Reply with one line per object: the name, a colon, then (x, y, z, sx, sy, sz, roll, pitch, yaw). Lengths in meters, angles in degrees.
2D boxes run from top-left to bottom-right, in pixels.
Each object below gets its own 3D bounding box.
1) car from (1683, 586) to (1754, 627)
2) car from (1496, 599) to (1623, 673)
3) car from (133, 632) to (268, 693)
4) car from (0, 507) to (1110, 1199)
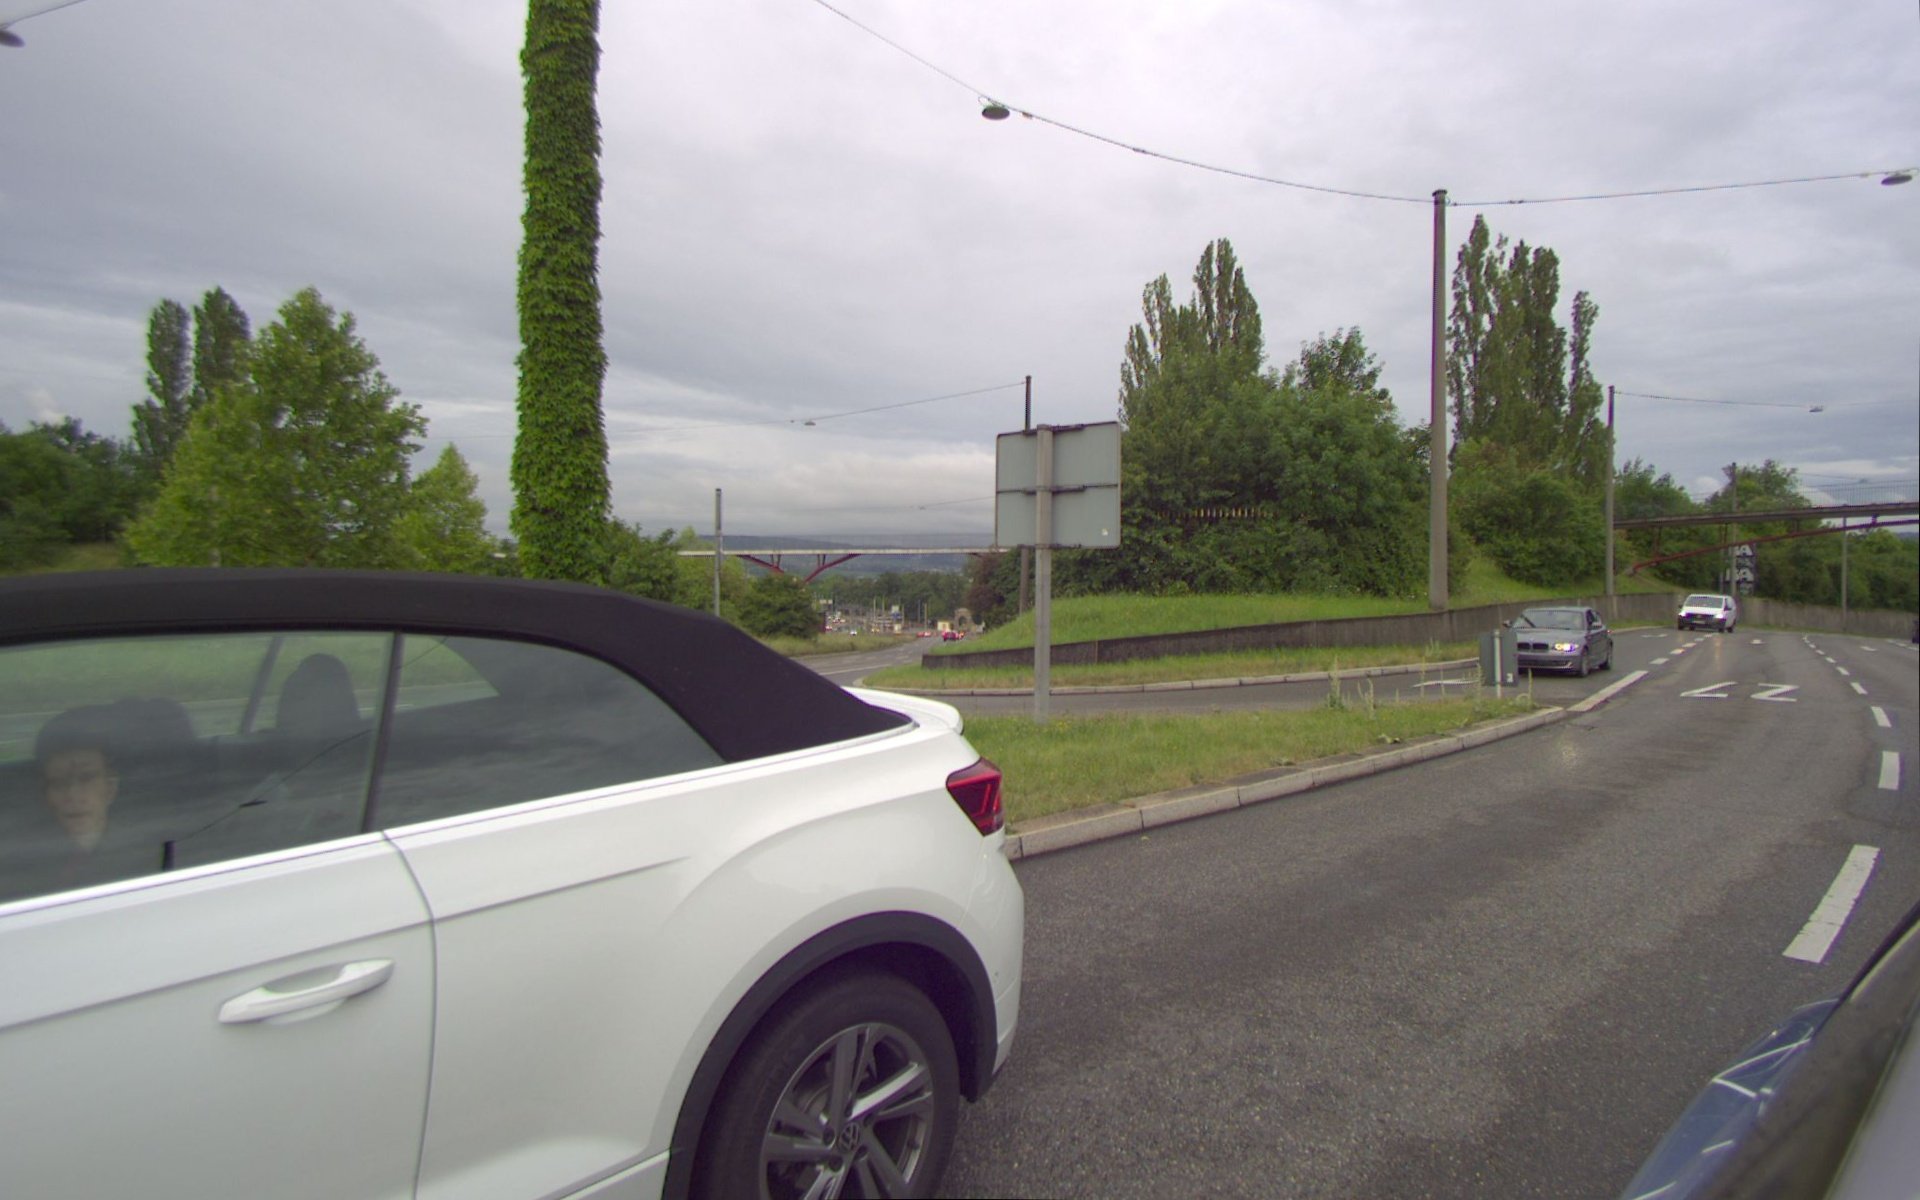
car: (38.412, 0.278, 51.219, 4.742, 1.871, 1.997, -1, 3, -43)
car: (12.929, 0.737, 21.717, 1.678, 1.438, 4.022, -1, -1, 40)
car: (-29.442, 2.369, 39.388, 1.968, 2.039, 3.988, 0, 0, 10)
car: (-1.688, 0.671, 1.881, 4.159, 1.572, 1.715, -1, 1, -44)
